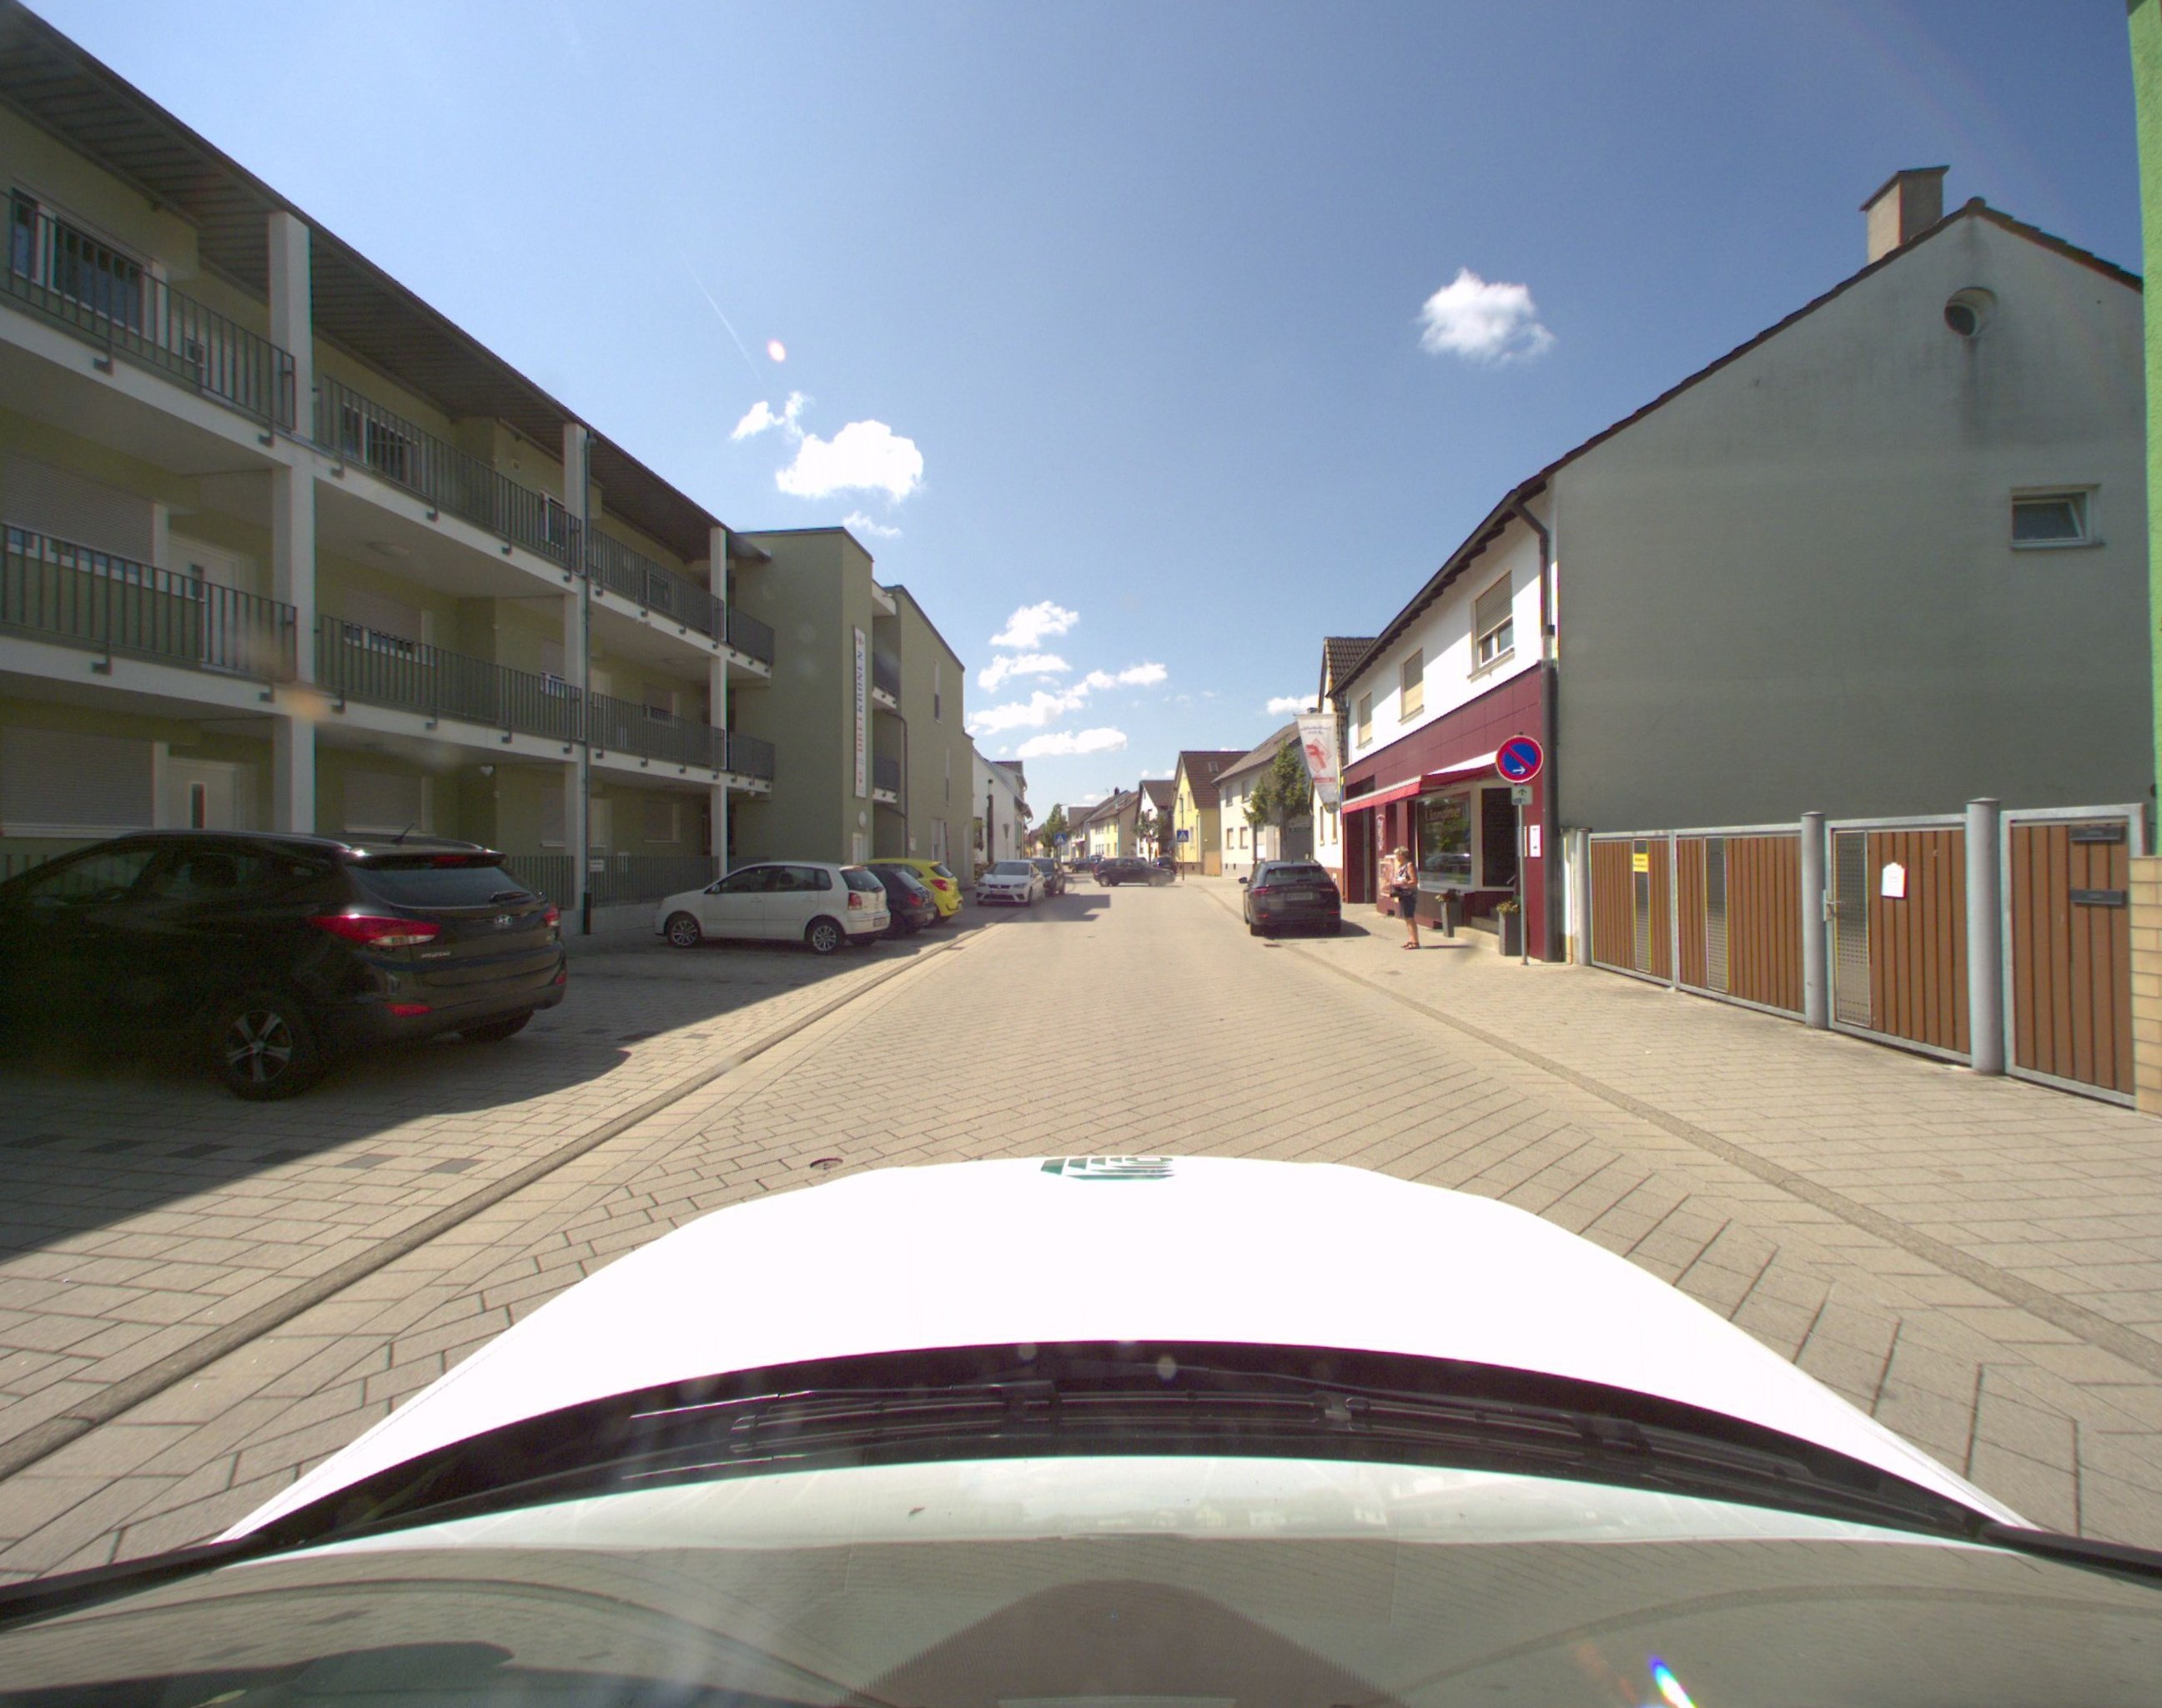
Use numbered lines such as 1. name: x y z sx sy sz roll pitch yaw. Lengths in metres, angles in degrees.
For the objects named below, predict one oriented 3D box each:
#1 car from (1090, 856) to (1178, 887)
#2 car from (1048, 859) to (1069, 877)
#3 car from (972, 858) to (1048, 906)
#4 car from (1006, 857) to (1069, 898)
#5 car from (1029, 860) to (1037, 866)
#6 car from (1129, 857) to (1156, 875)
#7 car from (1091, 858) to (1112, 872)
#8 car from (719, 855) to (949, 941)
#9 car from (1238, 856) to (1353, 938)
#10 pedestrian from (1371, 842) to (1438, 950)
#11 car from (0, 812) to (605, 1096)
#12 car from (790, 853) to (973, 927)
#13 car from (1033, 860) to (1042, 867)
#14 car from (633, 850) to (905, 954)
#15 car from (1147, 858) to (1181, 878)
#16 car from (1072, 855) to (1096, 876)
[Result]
1. car: 2.673 0.862 40.681 4.075 1.438 1.772 -2 0 15
2. car: -1.965 1.161 69.712 1.743 1.530 3.996 1 0 -3
3. car: -2.265 0.881 27.048 1.749 1.411 3.884 1 0 6
4. car: -1.679 0.874 32.566 1.804 1.490 4.285 1 0 6
5. car: -11.171 2.055 189.044 1.685 1.452 3.785 -1 0 -6
6. car: 5.589 1.098 74.062 1.844 1.562 3.686 -1 0 -6
7. car: 2.382 1.259 95.440 1.875 1.591 3.992 -1 0 -6
8. car: -4.834 0.824 16.240 3.967 1.441 1.694 2 0 6
9. car: 4.396 0.813 17.352 1.847 1.459 4.597 -3 -1 9
10. pedestrian: 5.145 0.656 12.984 0.726 1.640 0.750 -4 -1 6
11. car: -6.116 0.581 5.980 4.199 1.658 1.787 2 0 5
12. car: -4.537 0.789 18.800 3.673 1.525 1.675 2 0 6
13. car: -9.445 2.125 175.526 1.685 1.452 3.785 -1 0 -6
14. car: -5.189 0.747 13.821 3.880 1.502 1.754 2 0 7
15. car: 6.498 1.101 64.286 1.826 1.471 4.267 -3 -1 -6
16. car: 0.292 1.193 83.485 1.991 2.058 4.364 -1 0 -6
